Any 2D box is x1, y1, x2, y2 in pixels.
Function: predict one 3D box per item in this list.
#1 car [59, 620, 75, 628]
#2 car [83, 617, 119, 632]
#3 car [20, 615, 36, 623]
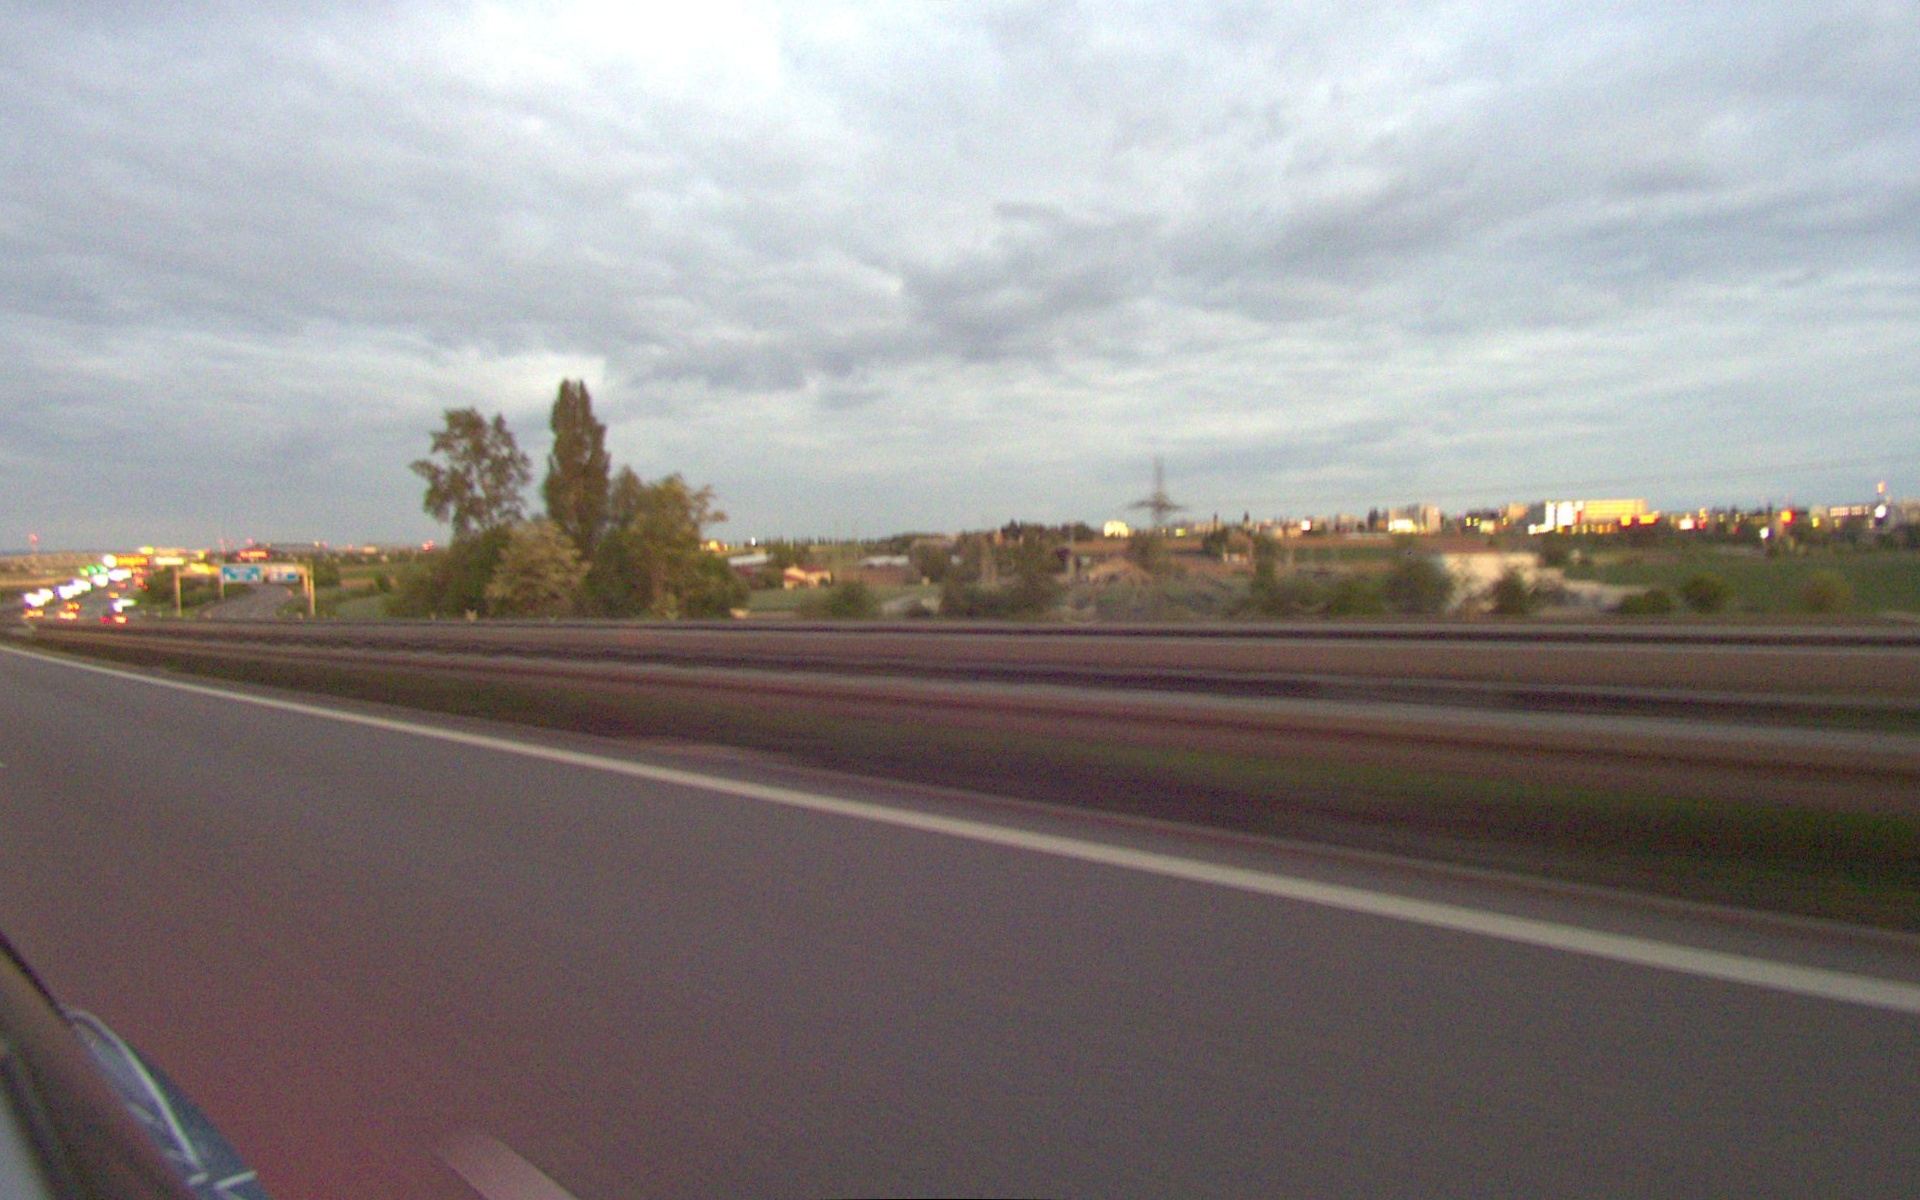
[{"bbox_3d":[-147.802,3.949,167.497,4.184,1.236,1.702,-1,-1,44],"label":"car"},{"bbox_3d":[-86.882,2.452,102.309,4.793,1.414,1.974,-1,-1,40],"label":"car"},{"bbox_3d":[-174.179,3.579,189.053,4.331,1.414,1.971,-1,-1,44],"label":"car"}]
